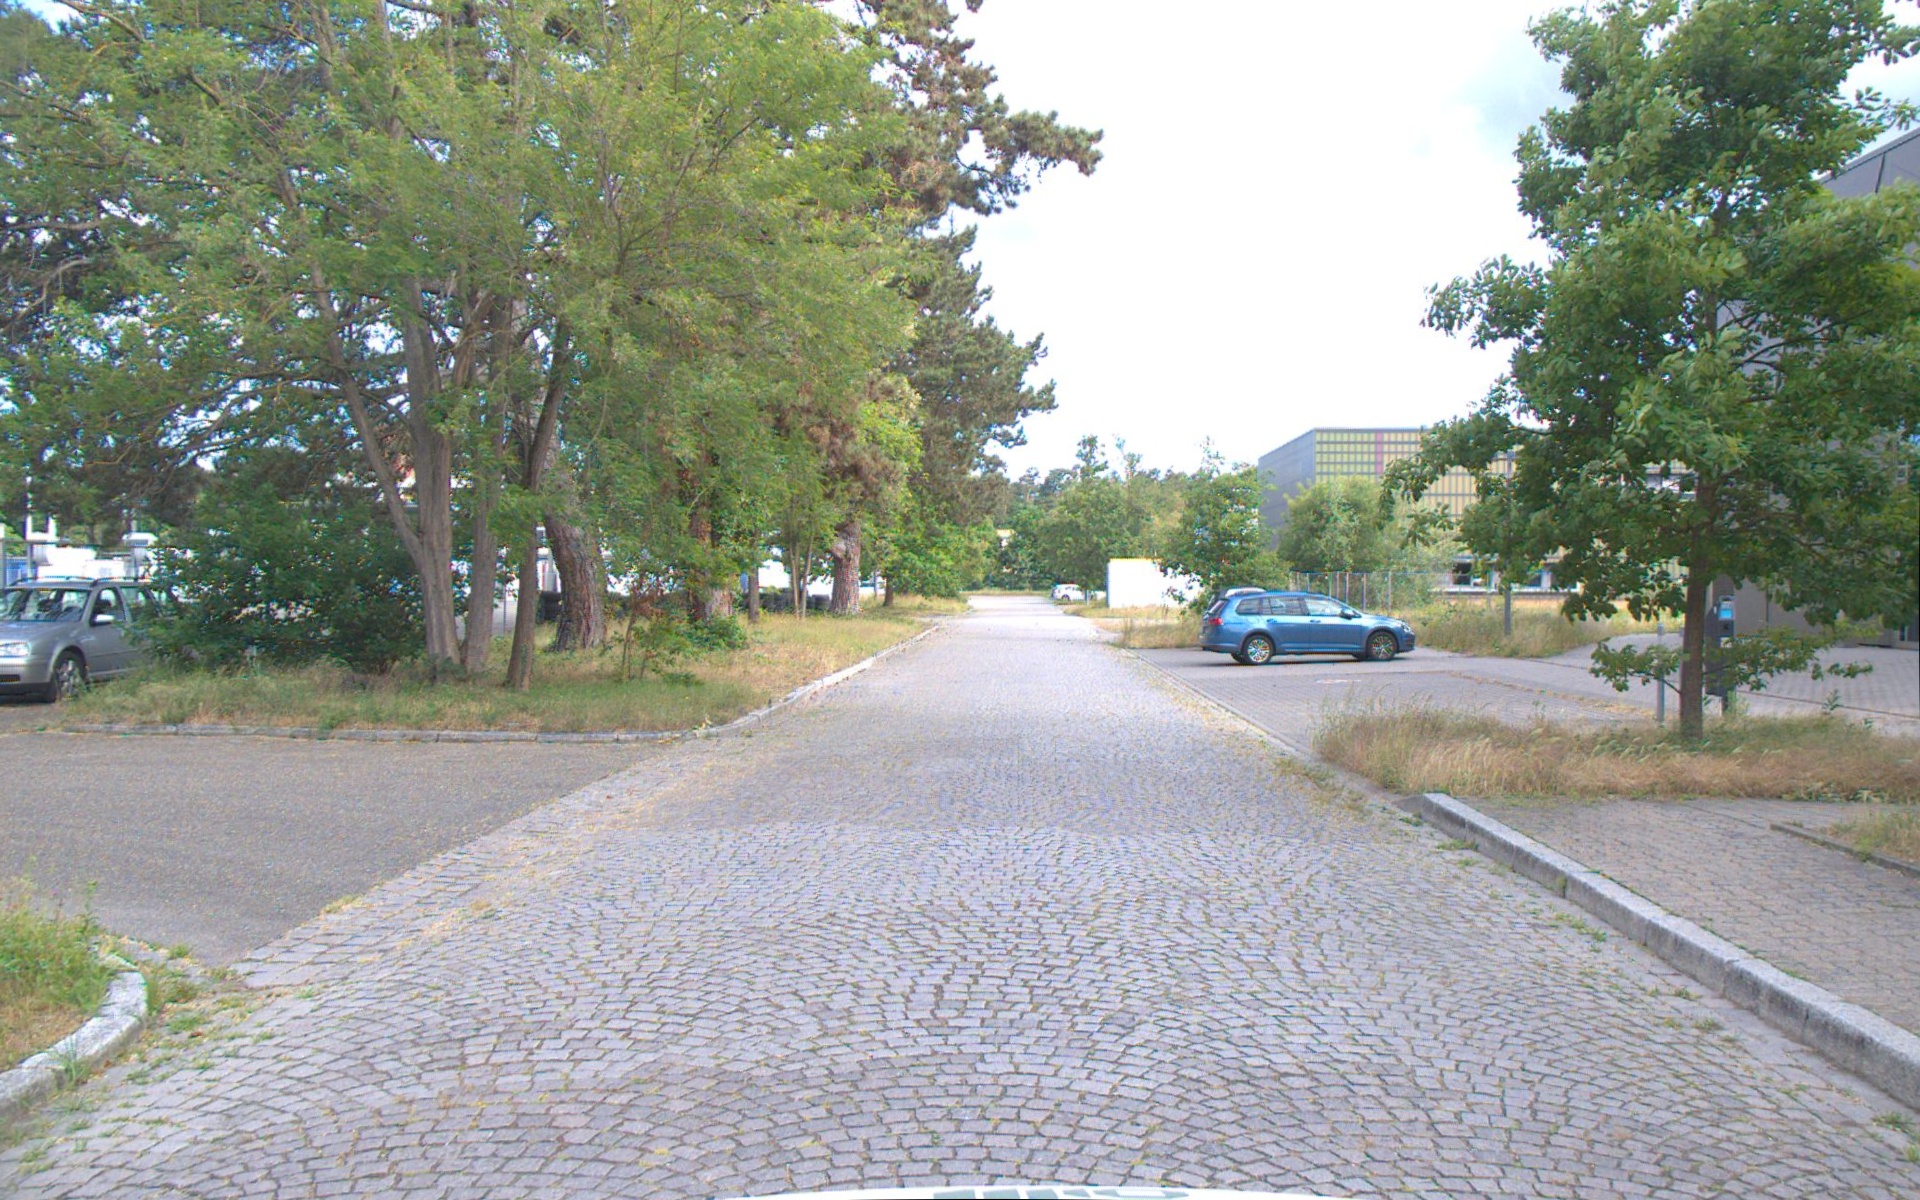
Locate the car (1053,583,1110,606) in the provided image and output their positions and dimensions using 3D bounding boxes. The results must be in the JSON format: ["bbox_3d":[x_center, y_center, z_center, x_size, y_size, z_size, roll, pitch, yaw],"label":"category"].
[{"bbox_3d":[9.438,-0.434,128.609,4.265,1.717,1.925,0,0,1],"label":"car"}]

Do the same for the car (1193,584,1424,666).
[{"bbox_3d":[7.297,0.504,34.973,4.426,1.558,2.000,-2,1,-2],"label":"car"}]

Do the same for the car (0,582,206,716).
[{"bbox_3d":[-11.402,0.529,20.798,1.880,1.502,4.369,0,1,-1],"label":"car"}]

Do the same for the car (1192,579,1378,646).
[{"bbox_3d":[8.265,0.300,42.372,4.423,1.558,2.001,-1,1,2],"label":"car"}]

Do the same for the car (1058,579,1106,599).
[{"bbox_3d":[11.013,-1.033,149.569,4.263,1.811,1.926,0,0,3],"label":"car"}]
